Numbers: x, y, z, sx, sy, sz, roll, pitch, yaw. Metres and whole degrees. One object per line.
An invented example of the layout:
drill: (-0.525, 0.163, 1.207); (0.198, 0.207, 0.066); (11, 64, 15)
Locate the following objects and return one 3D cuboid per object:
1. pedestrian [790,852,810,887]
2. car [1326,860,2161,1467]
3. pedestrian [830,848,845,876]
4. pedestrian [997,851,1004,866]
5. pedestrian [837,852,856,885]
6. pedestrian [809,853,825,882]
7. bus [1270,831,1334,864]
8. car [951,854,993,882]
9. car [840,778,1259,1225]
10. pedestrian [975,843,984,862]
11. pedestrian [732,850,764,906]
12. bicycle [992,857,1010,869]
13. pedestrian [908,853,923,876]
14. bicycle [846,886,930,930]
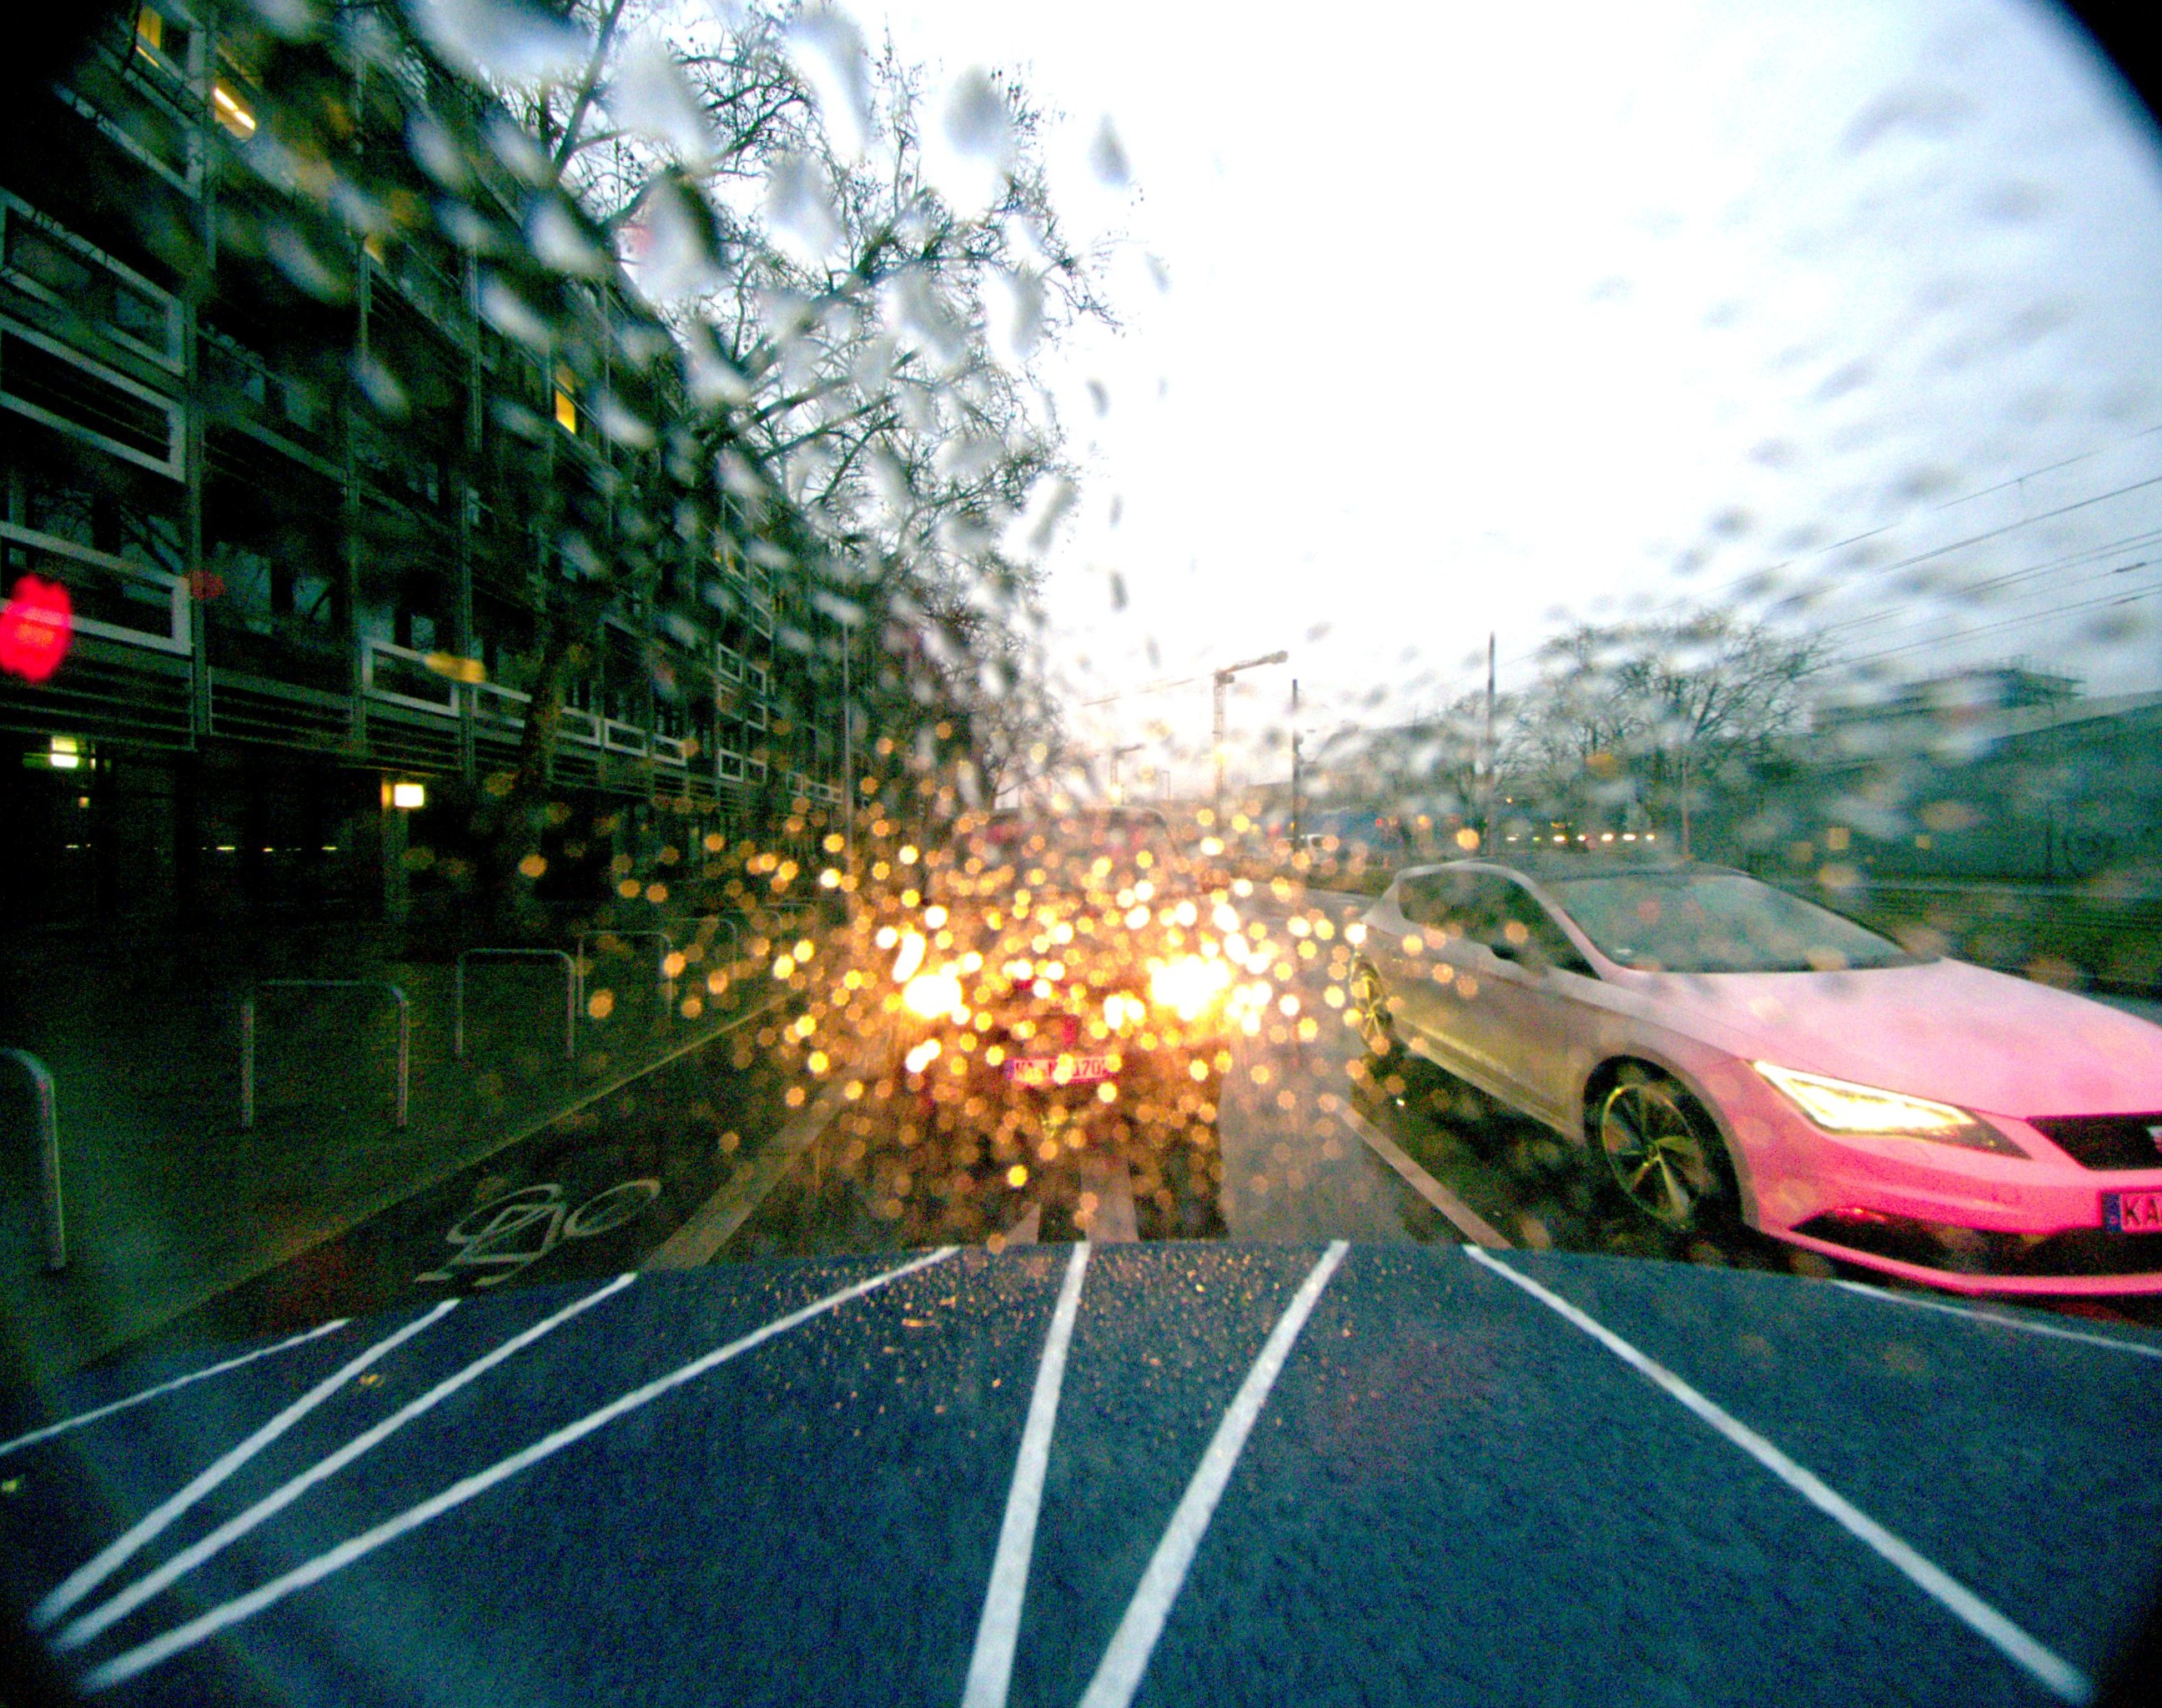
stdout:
pedestrian: (-13.370, 0.748, 36.191); (0.617, 1.647, 0.780); (-1, 1, 1)
car: (2.922, 0.809, 4.029); (1.778, 1.466, 4.128); (0, 1, -2)
pedestrian: (-14.511, 0.445, 45.206); (0.641, 1.645, 0.842); (-1, 1, -4)
pedestrian: (-11.044, 0.641, 104.501); (0.838, 2.002, 0.771); (-2, 2, -1)
pedestrian: (-10.934, 0.656, 35.445); (0.649, 1.535, 0.615); (0, 1, 1)
pedestrian: (-12.633, 0.634, 36.346); (0.492, 1.361, 0.503); (0, 1, 38)
bus: (25.924, -0.779, 89.919); (2.815, 3.557, 12.298); (-1, 0, -6)
car: (-6.174, 0.781, 43.378); (1.608, 1.424, 3.930); (2, 1, 2)
car: (-0.113, 0.668, 5.479); (1.858, 2.002, 4.000); (-2, 1, 1)
pedestrian: (-10.550, -0.185, 79.022); (0.791, 2.002, 1.024); (-1, 1, 0)
pedestrian: (-12.164, 0.864, 27.799); (0.822, 2.002, 0.735); (-1, 1, -2)
bicycle: (-7.216, 0.792, 68.299); (1.523, 1.030, 0.469); (-2, 1, -7)
pedestrian: (-11.149, 0.698, 51.171); (0.866, 1.515, 0.837); (-1, 1, -2)
bicycle: (-4.451, 1.243, 17.610); (1.792, 0.968, 0.617); (1, 1, -4)
